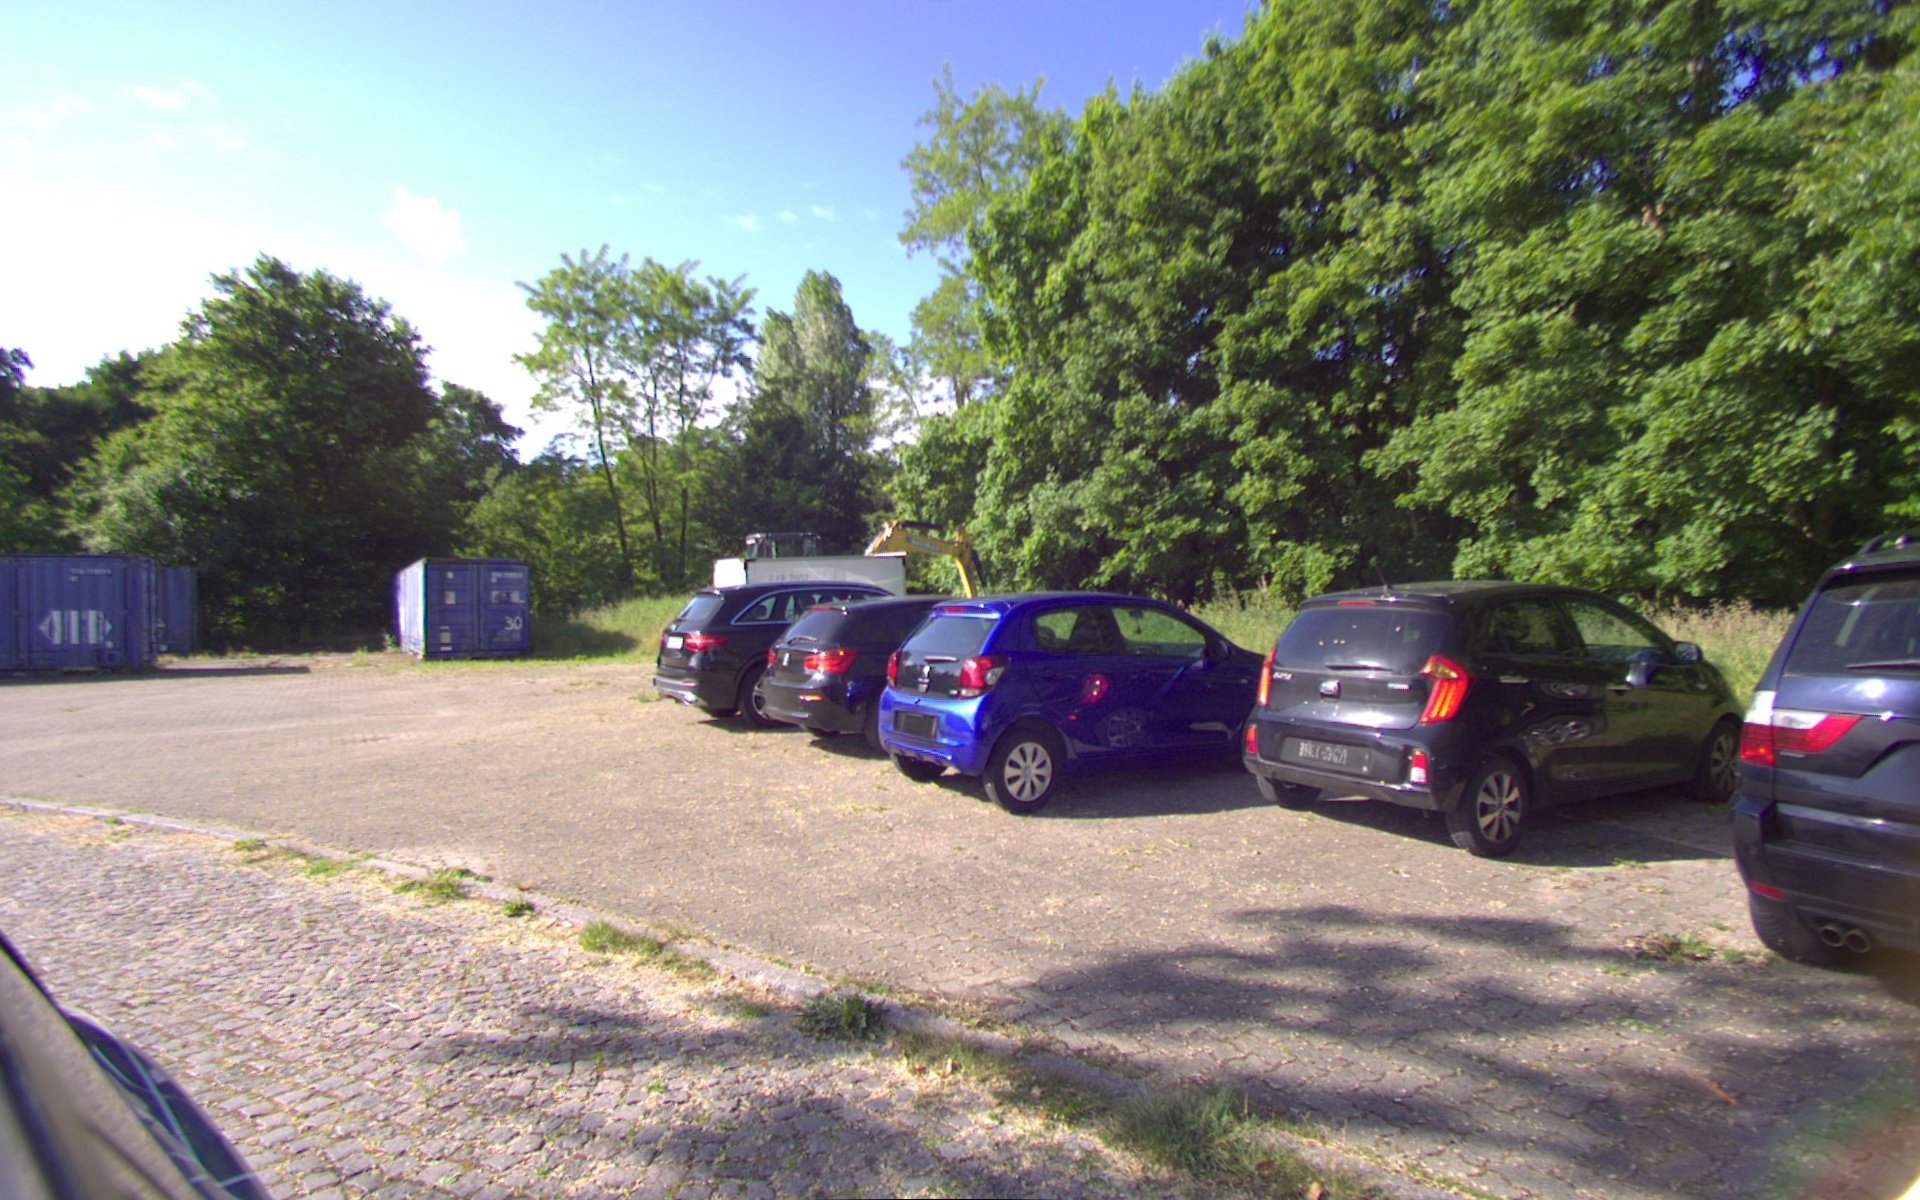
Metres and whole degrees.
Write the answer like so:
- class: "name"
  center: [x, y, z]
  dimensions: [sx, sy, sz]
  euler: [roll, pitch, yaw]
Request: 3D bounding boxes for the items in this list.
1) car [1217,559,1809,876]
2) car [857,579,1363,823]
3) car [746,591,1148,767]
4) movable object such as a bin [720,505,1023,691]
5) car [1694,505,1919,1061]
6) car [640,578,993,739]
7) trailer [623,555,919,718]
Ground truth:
- class: "car"
  center: [3.613, 0.551, 6.581]
  dimensions: [3.490, 1.527, 1.684]
  euler: [-2, 1, -27]
- class: "car"
  center: [1.203, 0.626, 7.896]
  dimensions: [3.601, 1.504, 1.720]
  euler: [0, -1, -30]
- class: "car"
  center: [-0.100, 0.669, 10.200]
  dimensions: [3.601, 1.462, 1.839]
  euler: [-1, -1, -32]
- class: "movable object such as a bin"
  center: [-1.561, -0.028, 18.354]
  dimensions: [5.075, 2.988, 2.006]
  euler: [0, -1, -28]
- class: "car"
  center: [4.784, 0.487, 3.863]
  dimensions: [4.120, 1.668, 1.823]
  euler: [-2, 0, -33]
- class: "car"
  center: [-1.702, 0.600, 12.146]
  dimensions: [3.755, 1.653, 1.874]
  euler: [-1, -1, -30]
- class: "trailer"
  center: [-2.738, 0.447, 14.912]
  dimensions: [3.905, 2.109, 1.644]
  euler: [-2, 0, -32]
